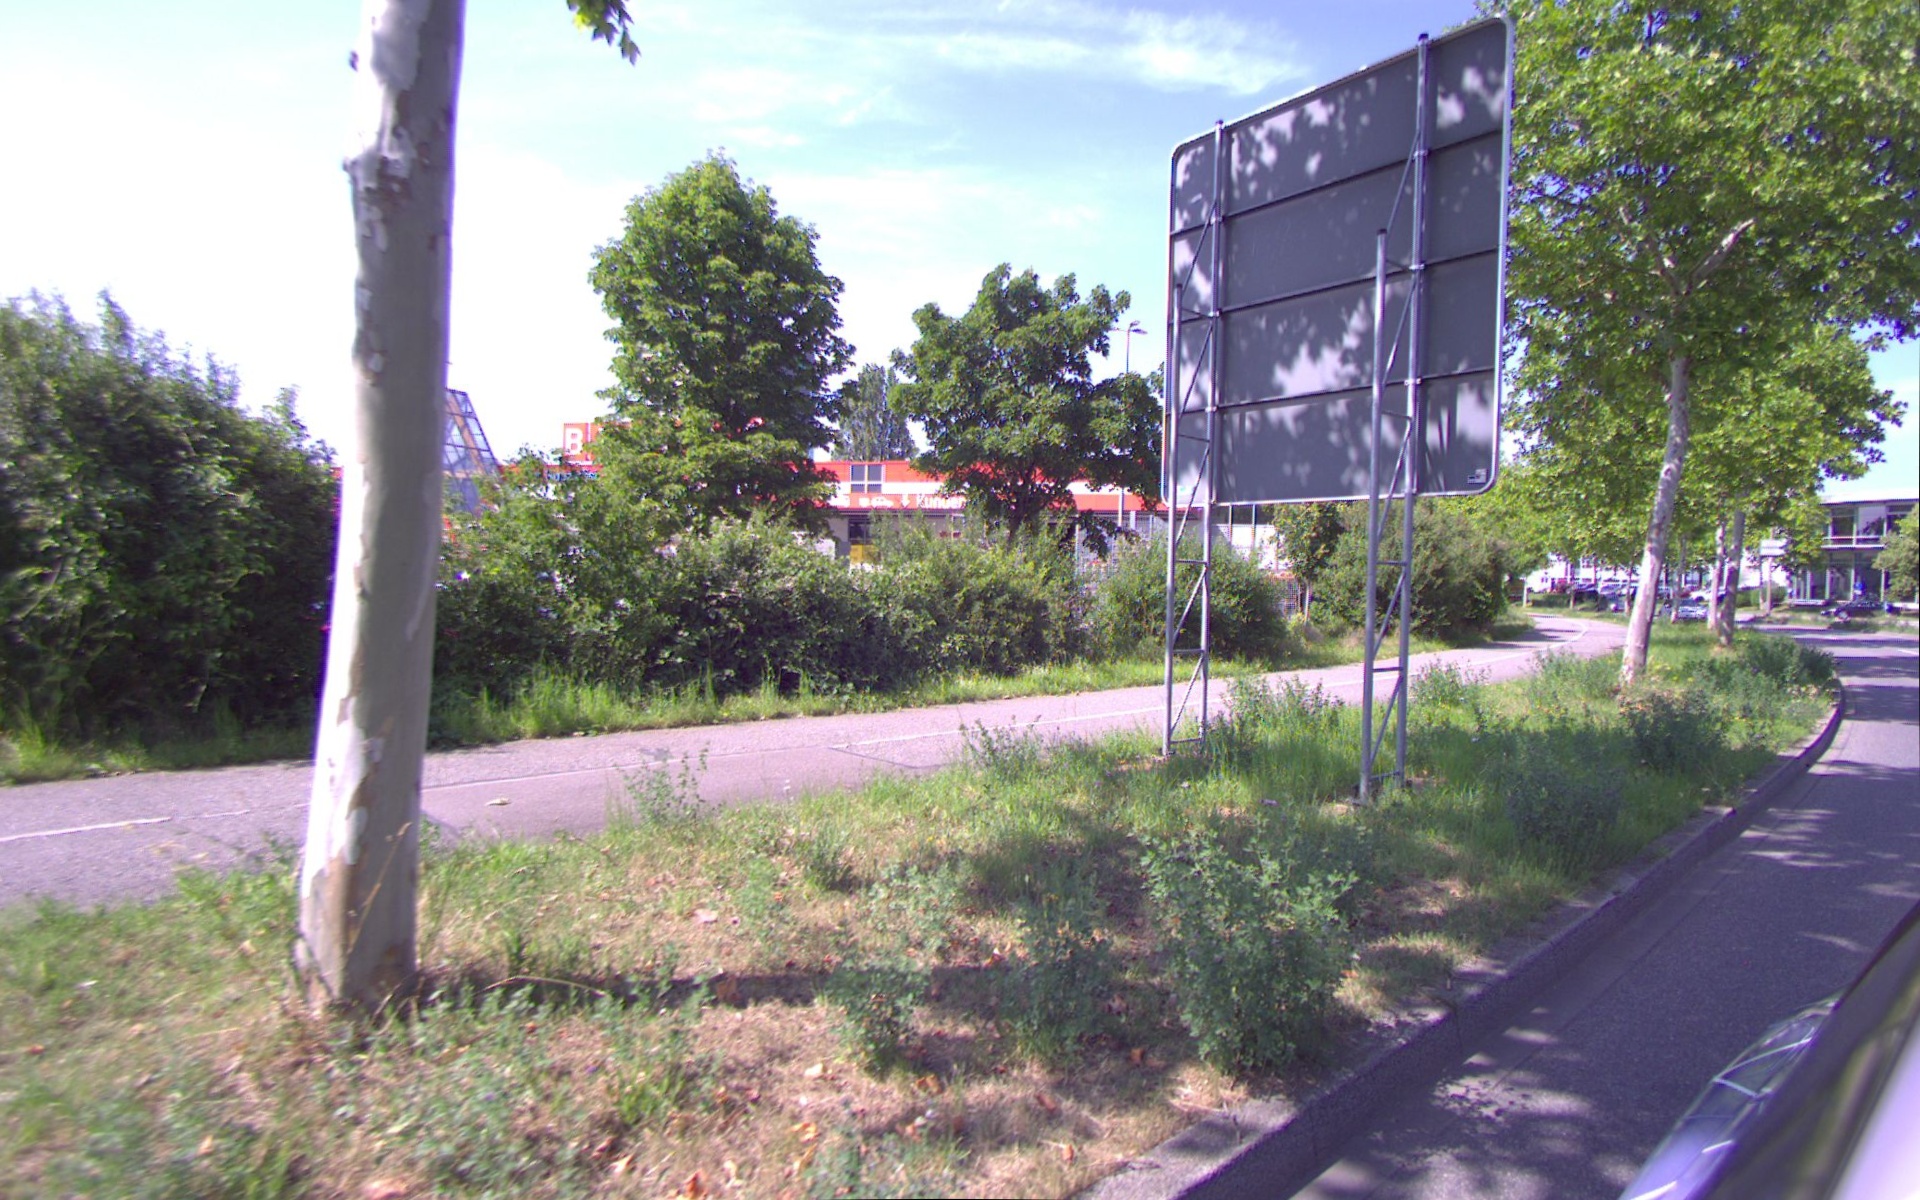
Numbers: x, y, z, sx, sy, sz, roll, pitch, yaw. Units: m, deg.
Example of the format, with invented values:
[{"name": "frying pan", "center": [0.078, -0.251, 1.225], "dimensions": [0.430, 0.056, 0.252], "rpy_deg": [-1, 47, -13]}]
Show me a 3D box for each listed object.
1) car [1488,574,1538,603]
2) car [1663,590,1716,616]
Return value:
[{"name": "car", "center": [69.662, -1.393, 127.545], "dimensions": [2.733, 3.475, 6.012], "rpy_deg": [-1, 0, -2]}, {"name": "car", "center": [45.736, 0.149, 63.518], "dimensions": [1.805, 1.540, 4.174], "rpy_deg": [1, 1, 24]}]
